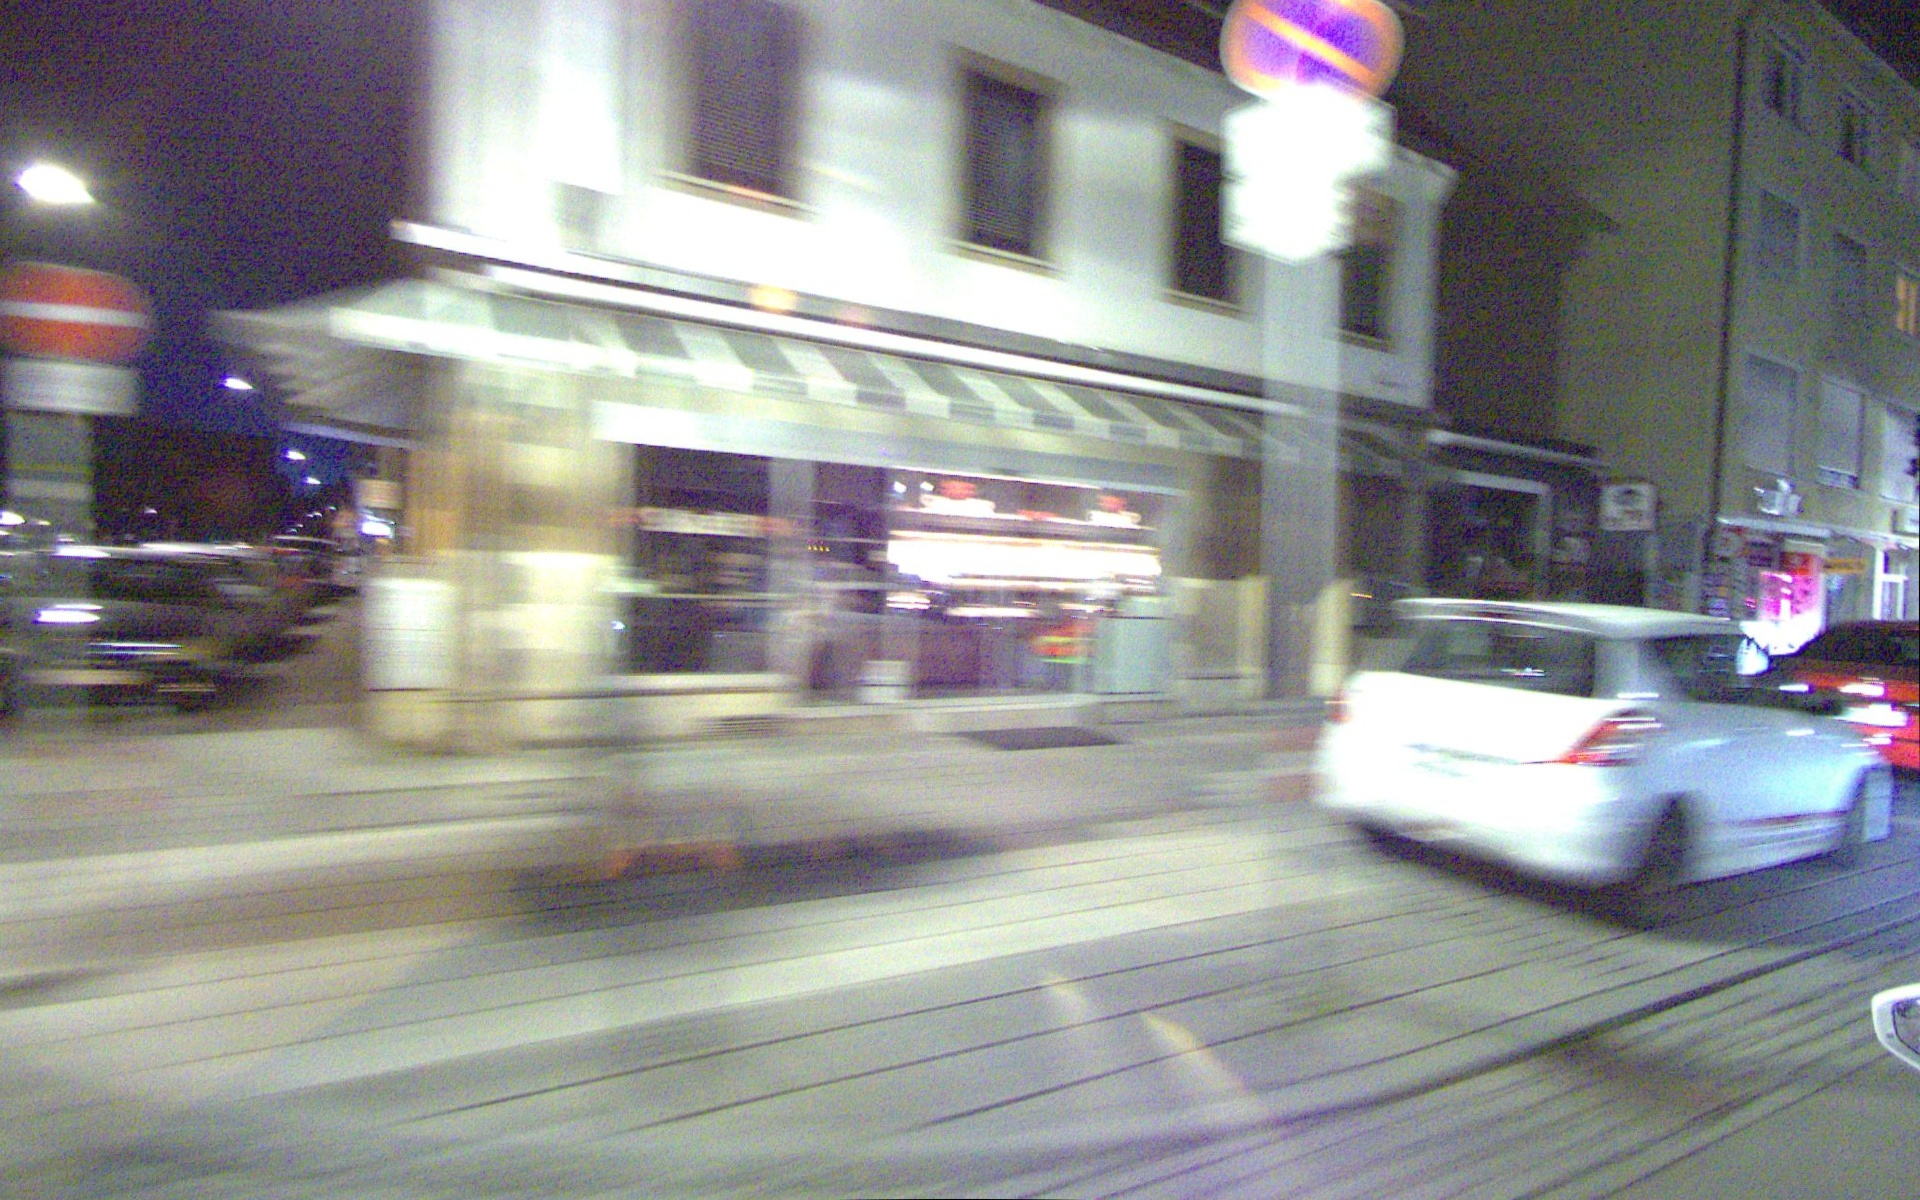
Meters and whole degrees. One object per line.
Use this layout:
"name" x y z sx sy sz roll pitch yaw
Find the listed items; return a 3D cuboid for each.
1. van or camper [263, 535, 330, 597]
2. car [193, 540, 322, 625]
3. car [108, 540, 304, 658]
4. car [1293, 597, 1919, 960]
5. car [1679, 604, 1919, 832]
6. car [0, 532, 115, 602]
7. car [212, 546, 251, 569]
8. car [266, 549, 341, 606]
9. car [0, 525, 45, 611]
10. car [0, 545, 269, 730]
"van or camper" -22.031 -1.155 33.484 1.593 1.828 4.940 3 1 -31
"car" -13.482 -0.368 19.484 1.730 1.410 3.965 3 1 -31
"car" -10.608 -0.065 14.410 1.789 1.410 3.965 3 1 -31
"car" 4.006 0.815 6.034 3.803 1.496 1.719 2 2 -32
"car" 8.718 0.924 8.858 4.951 1.508 2.008 2 3 -31
"car" -23.336 -0.829 25.674 1.977 1.670 3.966 -1 2 -31
"car" -54.647 -3.148 75.450 1.977 1.670 3.966 -1 2 -31
"car" -18.349 -0.657 28.187 1.593 1.410 3.648 3 1 -31
"car" -20.061 -0.636 19.958 1.977 1.670 3.966 -1 2 -31
"car" -7.890 0.239 9.625 1.789 1.394 3.965 3 1 -31
